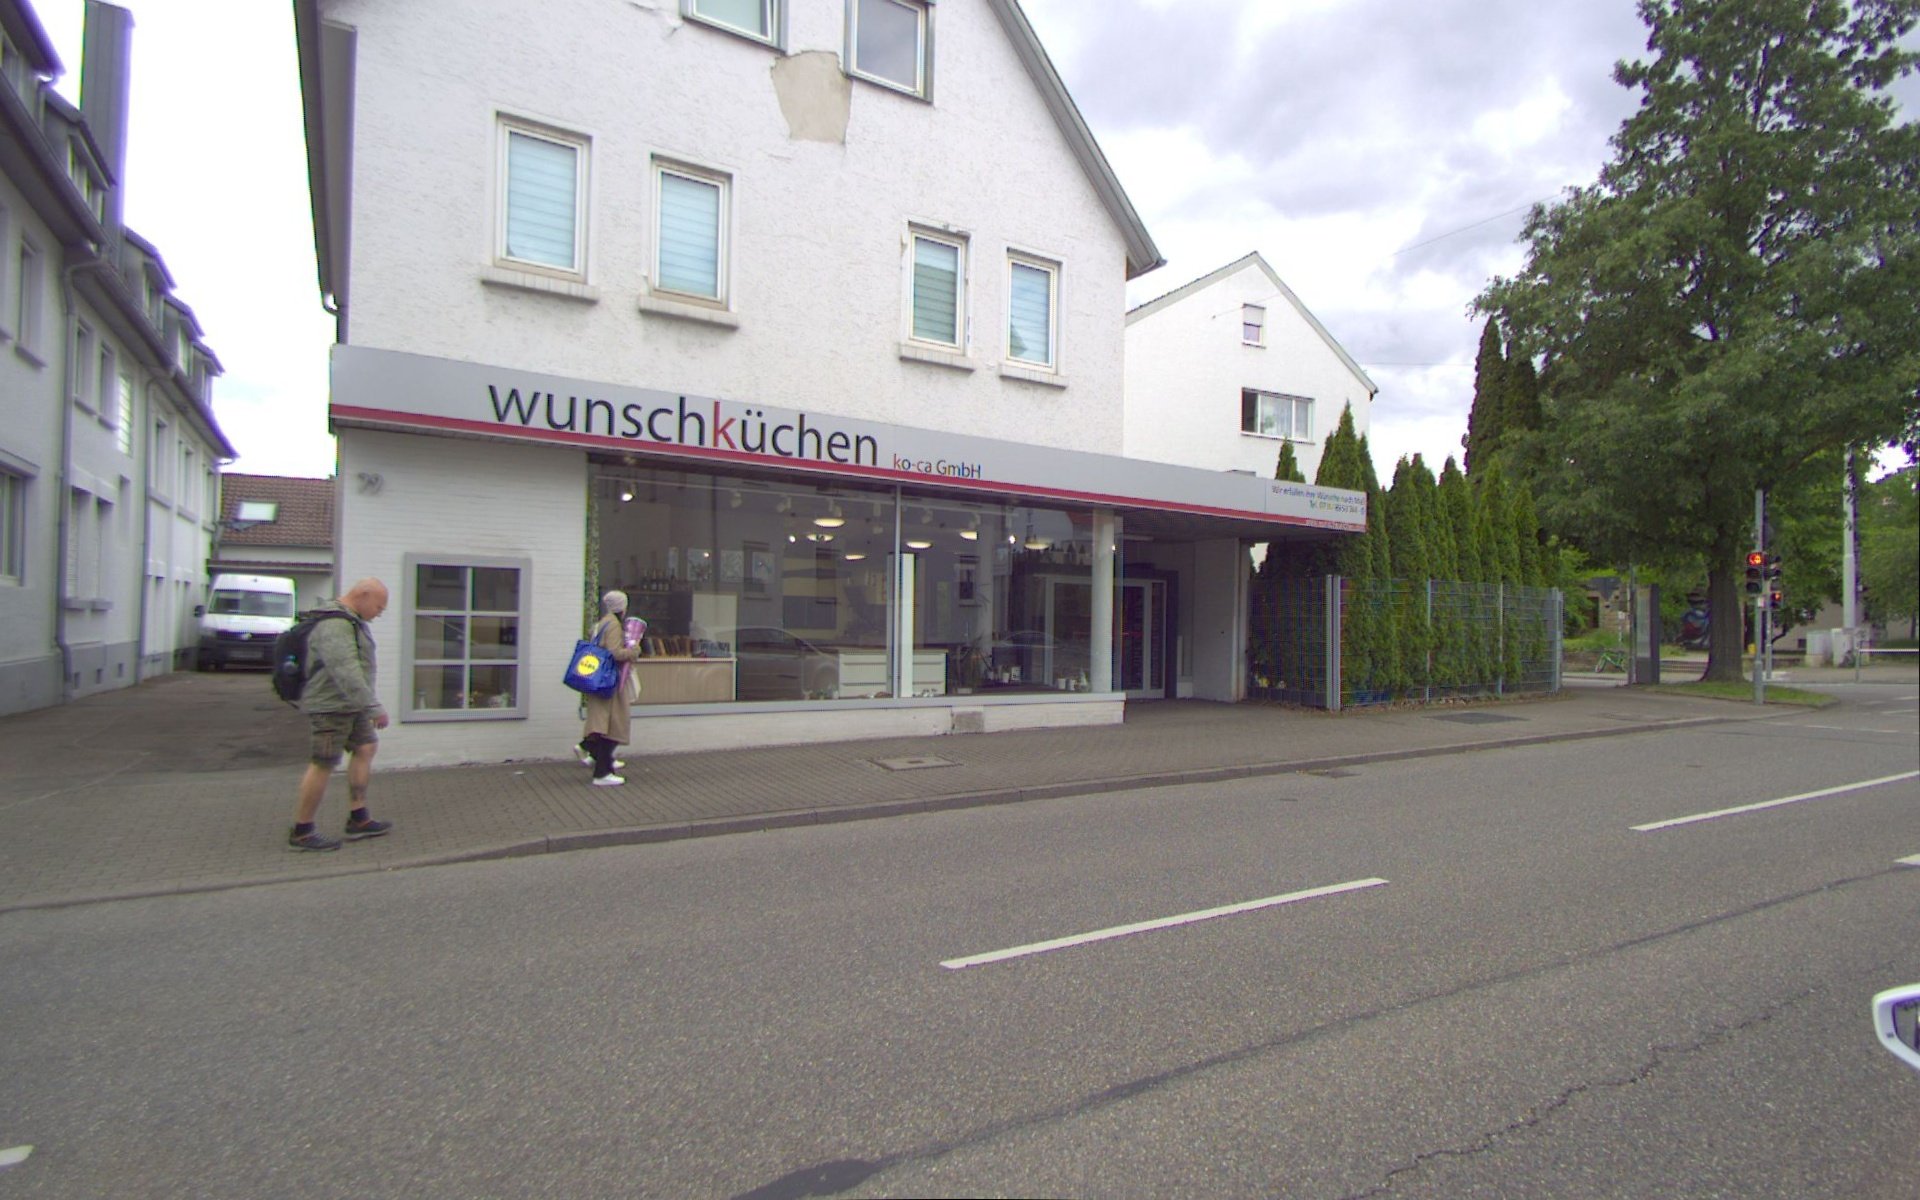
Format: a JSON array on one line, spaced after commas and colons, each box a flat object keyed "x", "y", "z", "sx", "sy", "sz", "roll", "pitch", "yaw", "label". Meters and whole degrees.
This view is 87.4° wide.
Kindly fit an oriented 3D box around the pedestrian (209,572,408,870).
[{"x": -4.199, "y": 0.723, "z": 6.546, "sx": 1.008, "sy": 1.767, "sz": 0.747, "roll": 1, "pitch": 1, "yaw": -31, "label": "pedestrian"}]

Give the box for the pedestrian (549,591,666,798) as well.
[{"x": -3.032, "y": 0.772, "z": 8.616, "sx": 0.784, "sy": 1.638, "sz": 0.747, "roll": 1, "pitch": 2, "yaw": -31, "label": "pedestrian"}]

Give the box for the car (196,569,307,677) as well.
[{"x": -19.064, "y": 0.582, "z": 27.258, "sx": 1.938, "sy": 2.541, "sz": 5.943, "roll": 4, "pitch": -2, "yaw": -32, "label": "car"}]

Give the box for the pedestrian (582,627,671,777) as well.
[{"x": -3.079, "y": 0.908, "z": 9.253, "sx": 0.647, "sy": 1.297, "sz": 0.596, "roll": 1, "pitch": 1, "yaw": -31, "label": "pedestrian"}]
